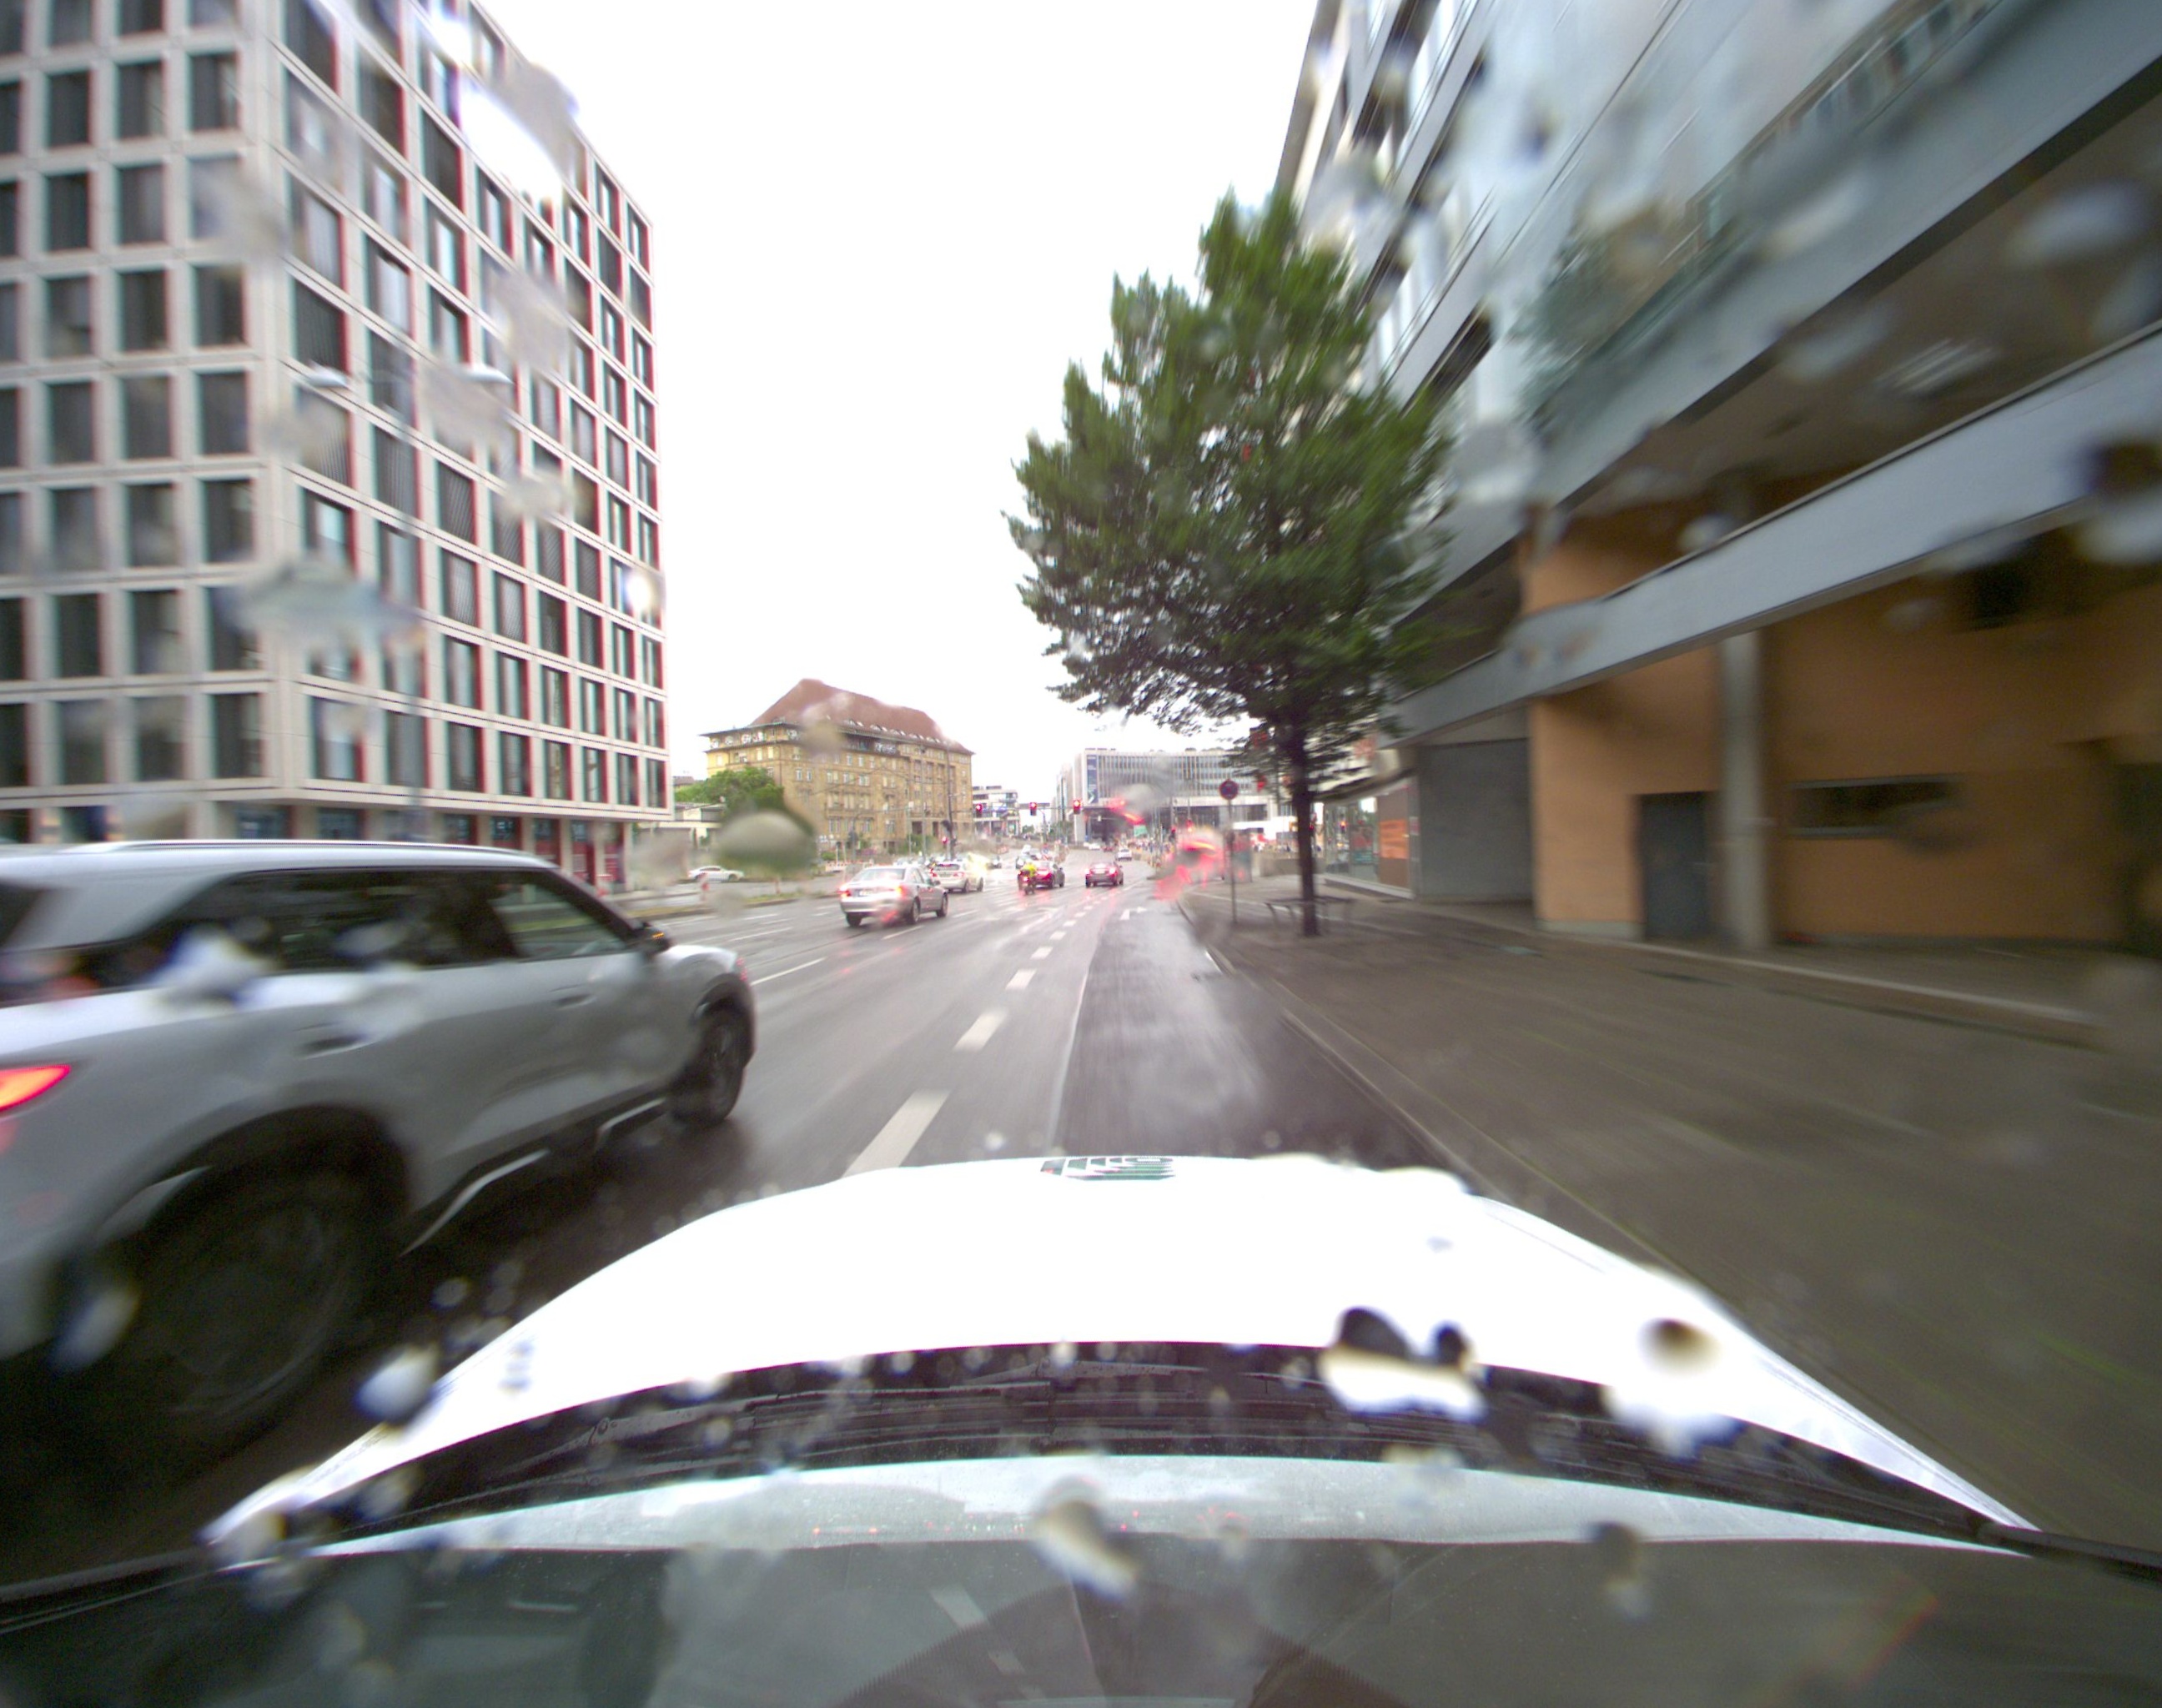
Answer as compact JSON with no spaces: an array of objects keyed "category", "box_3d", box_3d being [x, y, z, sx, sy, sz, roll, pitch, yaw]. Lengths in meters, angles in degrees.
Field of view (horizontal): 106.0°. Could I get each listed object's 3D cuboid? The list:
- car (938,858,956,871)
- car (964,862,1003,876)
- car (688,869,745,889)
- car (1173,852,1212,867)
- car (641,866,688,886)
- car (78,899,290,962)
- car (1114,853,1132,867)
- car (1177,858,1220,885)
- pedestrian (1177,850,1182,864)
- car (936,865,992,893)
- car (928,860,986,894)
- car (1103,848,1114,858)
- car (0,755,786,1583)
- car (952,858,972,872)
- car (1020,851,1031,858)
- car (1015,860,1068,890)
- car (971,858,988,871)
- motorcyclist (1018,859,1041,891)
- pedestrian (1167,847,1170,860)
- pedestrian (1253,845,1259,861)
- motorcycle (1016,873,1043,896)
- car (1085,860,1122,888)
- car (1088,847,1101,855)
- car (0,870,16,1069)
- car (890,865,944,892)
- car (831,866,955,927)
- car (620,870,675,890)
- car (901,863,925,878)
[{"category":"car","box_3d":[-17.301,1.396,105.260,1.692,1.574,3.999,-1,-1,0]},{"category":"car","box_3d":[-10.748,1.694,89.946,4.059,1.507,2.013,-1,-1,38]},{"category":"car","box_3d":[-32.663,2.245,73.041,4.387,1.662,1.990,0,-1,-14]},{"category":"car","box_3d":[12.662,0.643,92.620,3.950,1.640,2.011,-1,-1,25]},{"category":"car","box_3d":[-45.268,2.388,88.575,4.222,2.014,1.988,0,-1,-17]},{"category":"car","box_3d":[-25.952,2.173,23.794,1.691,1.424,3.957,-3,-1,2]},{"category":"car","box_3d":[5.457,0.706,105.920,1.726,1.639,3.427,0,2,-7]},{"category":"car","box_3d":[7.003,1.013,48.397,1.876,1.544,4.011,-1,-1,17]},{"category":"pedestrian","box_3d":[13.208,0.364,109.301,0.363,1.898,0.570,0,-2,-32]},{"category":"car","box_3d":[-7.117,1.510,50.000,1.769,1.600,4.091,-1,-1,18]},{"category":"car","box_3d":[-6.175,1.157,41.069,1.722,1.616,4.010,-1,-1,9]},{"category":"car","box_3d":[5.391,-0.166,162.046,1.988,2.014,3.998,-1,-1,-1]},{"category":"car","box_3d":[-3.007,0.674,3.539,1.801,1.661,4.172,-1,-1,2]},{"category":"car","box_3d":[-14.514,1.341,99.348,1.796,1.574,4.074,-1,-1,0]},{"category":"car","box_3d":[-11.868,0.085,174.205,1.760,1.260,4.196,-1,-1,3]},{"category":"car","box_3d":[-2.115,1.144,44.859,1.876,1.515,5.015,-1,-1,9]},{"category":"car","box_3d":[-13.358,1.377,107.378,1.692,1.574,3.999,-1,-1,0]},{"category":"motorcyclist","box_3d":[-2.421,0.991,38.263,0.937,1.476,1.101,-1,-1,3]},{"category":"pedestrian","box_3d":[13.134,-0.079,122.151,0.361,1.898,0.574,0,-1,-11]},{"category":"pedestrian","box_3d":[20.480,-0.122,95.405,0.569,1.898,0.364,-2,-2,40]},{"category":"motorcycle","box_3d":[-2.406,1.410,38.200,0.938,0.989,2.296,-1,0,4]},{"category":"car","box_3d":[1.339,1.132,46.729,1.775,1.402,4.493,-1,1,5]},{"category":"car","box_3d":[3.266,-0.810,193.919,1.999,1.816,3.975,0,-1,-18]},{"category":"car","box_3d":[-9.289,0.858,3.942,1.823,1.521,4.803,-1,-1,2]},{"category":"car","box_3d":[-8.768,1.275,43.872,1.775,1.373,3.998,-1,-1,4]},{"category":"car","box_3d":[-4.684,1.016,20.971,1.724,1.404,4.391,-1,-1,7]},{"category":"car","box_3d":[-35.567,2.113,66.898,3.955,1.596,1.683,-1,-1,18]},{"category":"car","box_3d":[-19.035,1.861,92.581,1.691,1.519,3.876,-3,-1,2]}]
